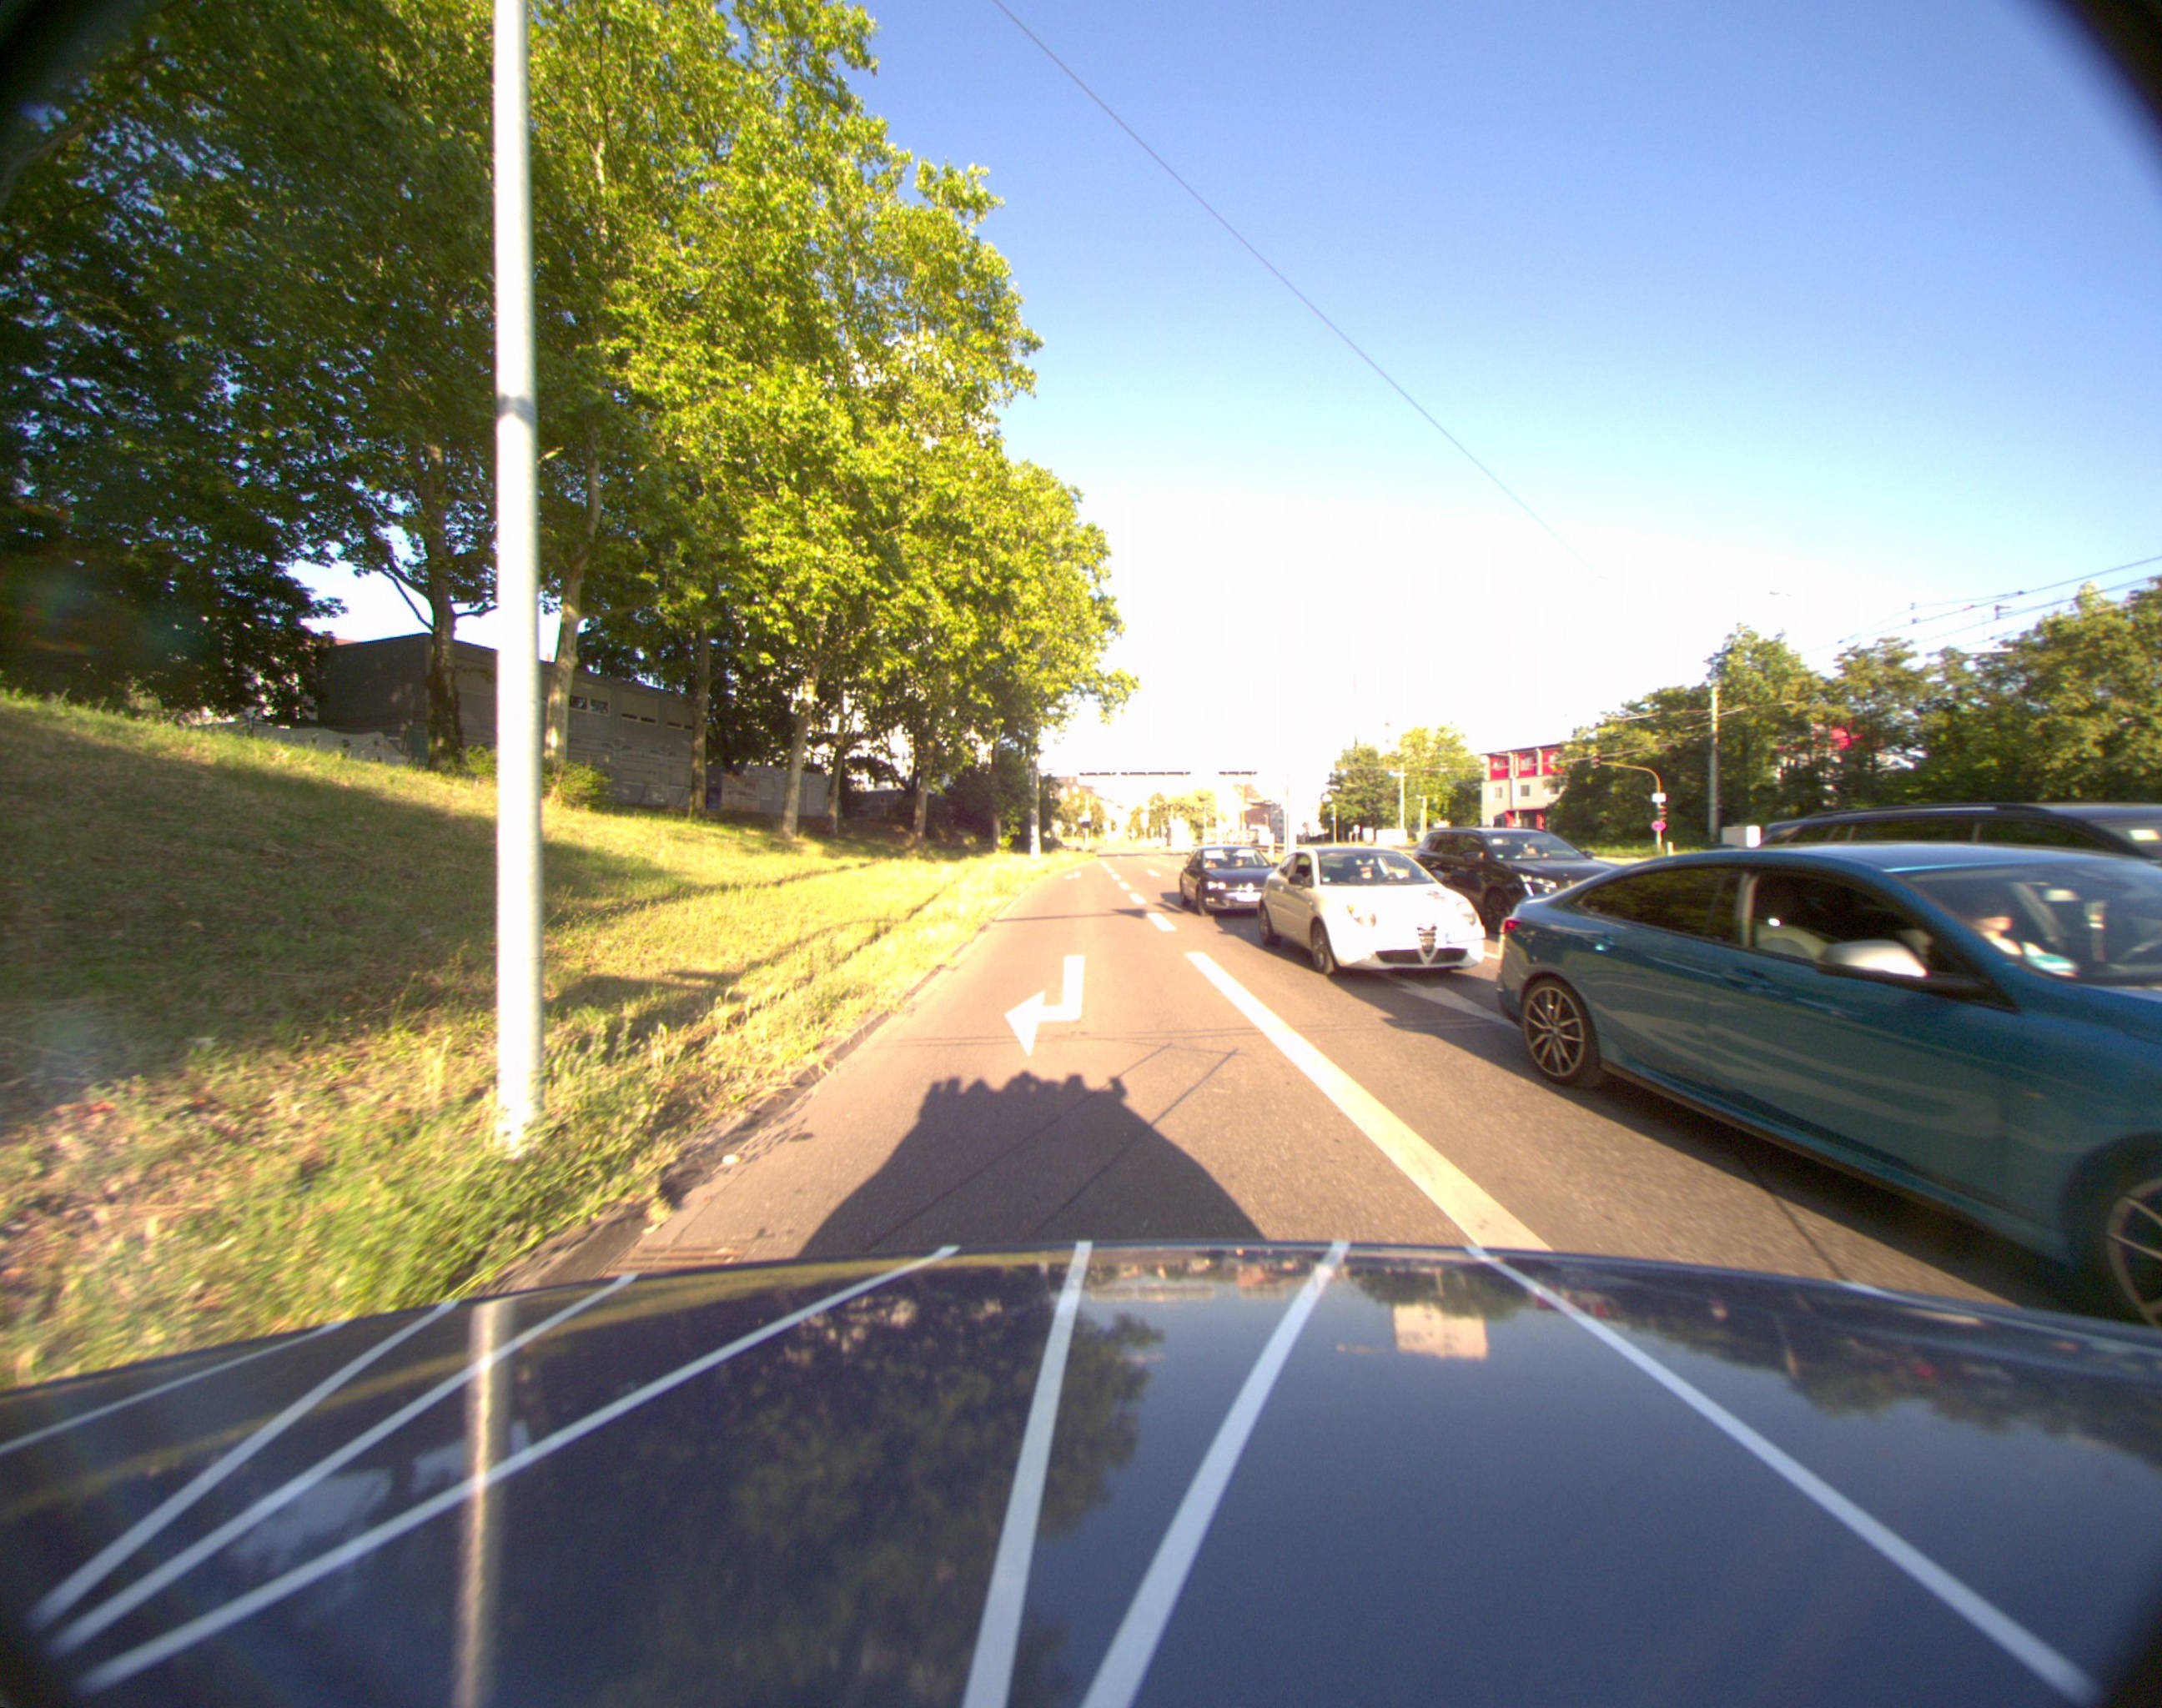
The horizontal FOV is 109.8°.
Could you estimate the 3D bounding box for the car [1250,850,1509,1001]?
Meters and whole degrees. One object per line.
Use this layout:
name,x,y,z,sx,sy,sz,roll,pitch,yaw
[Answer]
car,3.445,0.709,9.590,1.665,1.422,3.923,-1,1,-1

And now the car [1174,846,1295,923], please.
car,3.207,0.570,16.617,1.782,1.422,3.923,-1,1,-1

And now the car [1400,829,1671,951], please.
car,7.207,0.454,12.741,1.920,1.639,4.601,-1,1,2

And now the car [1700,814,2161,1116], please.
car,6.899,0.576,4.960,1.920,1.672,4.600,-1,1,-1

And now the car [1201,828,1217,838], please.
car,27.770,-4.464,164.319,1.994,2.002,4.007,-1,2,32

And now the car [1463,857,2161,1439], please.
car,3.676,0.793,3.127,1.789,1.409,4.511,-1,1,-2
